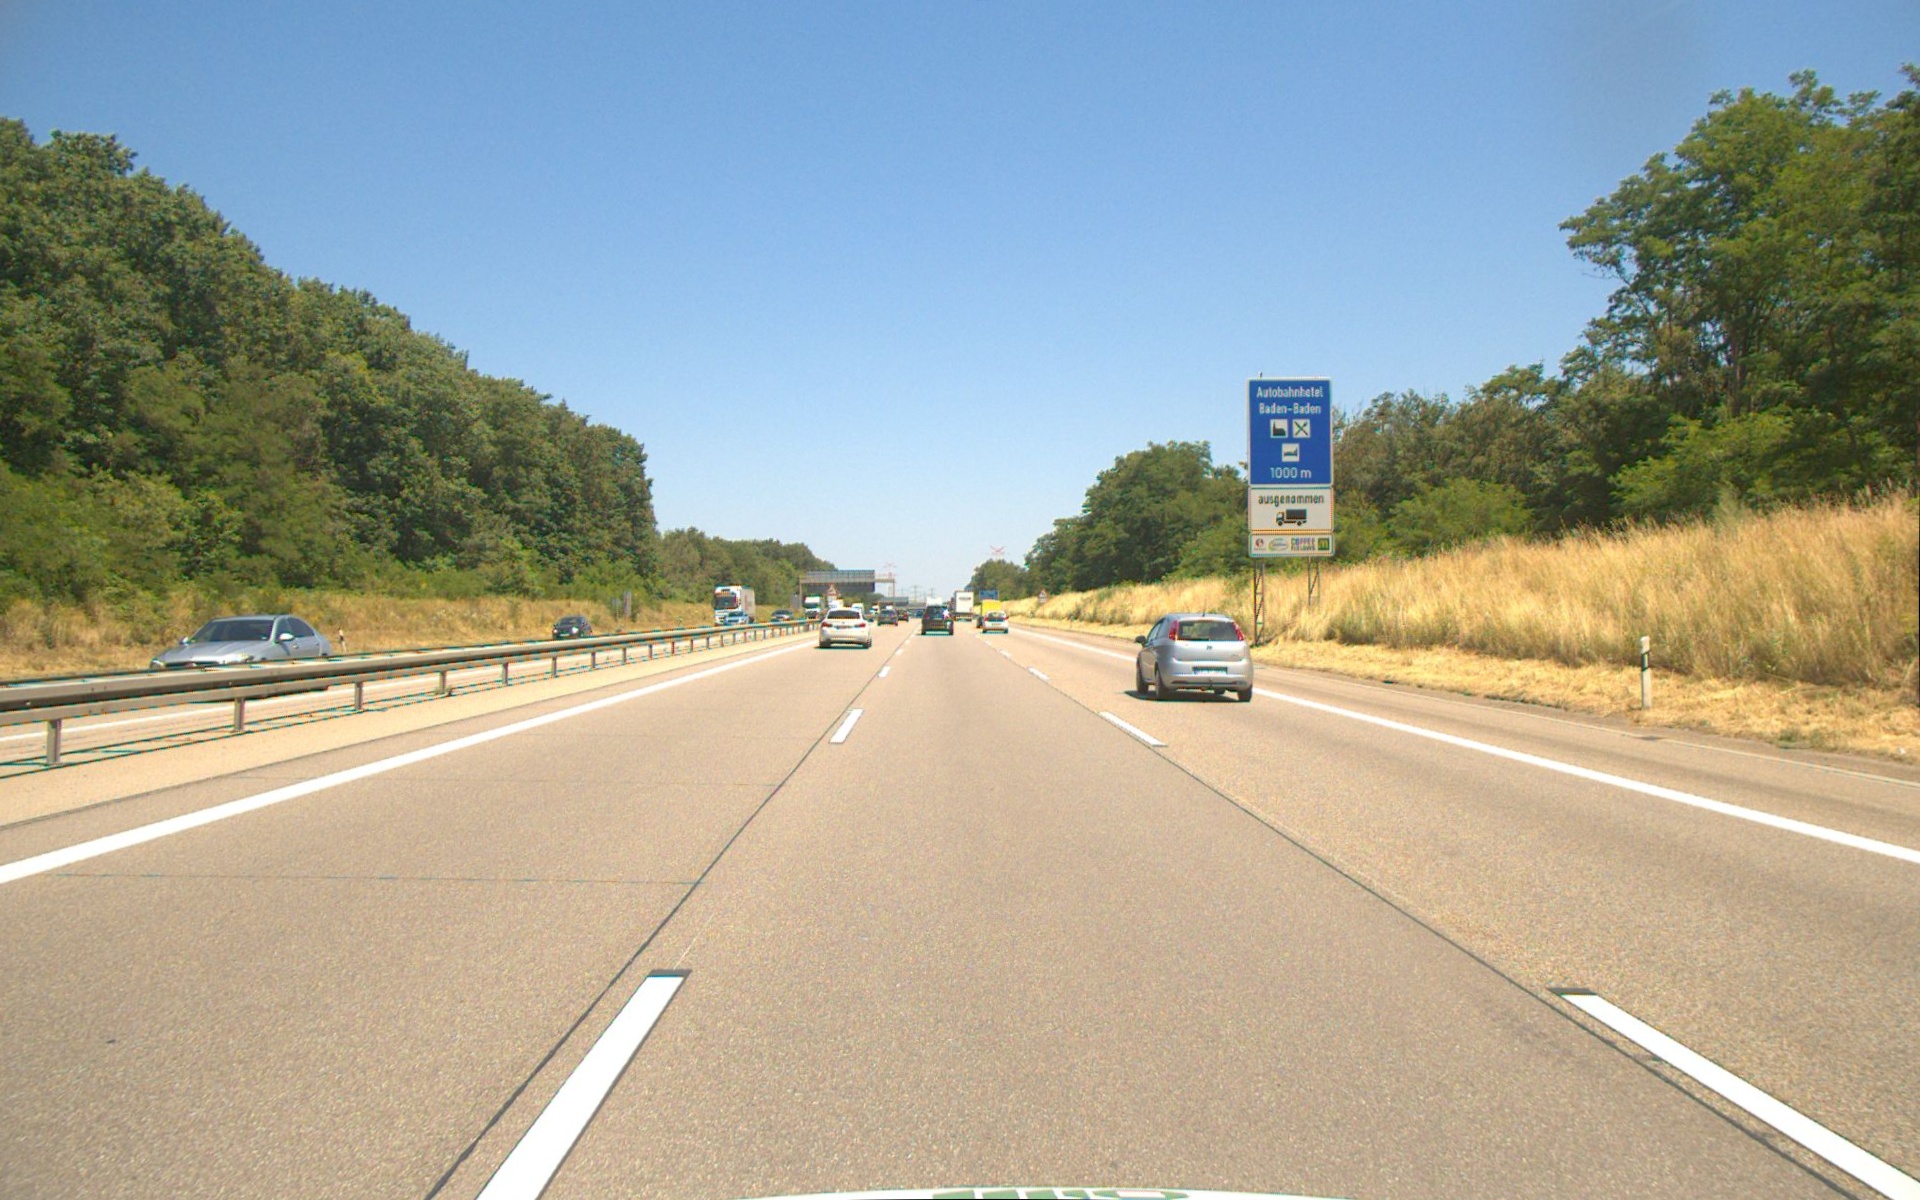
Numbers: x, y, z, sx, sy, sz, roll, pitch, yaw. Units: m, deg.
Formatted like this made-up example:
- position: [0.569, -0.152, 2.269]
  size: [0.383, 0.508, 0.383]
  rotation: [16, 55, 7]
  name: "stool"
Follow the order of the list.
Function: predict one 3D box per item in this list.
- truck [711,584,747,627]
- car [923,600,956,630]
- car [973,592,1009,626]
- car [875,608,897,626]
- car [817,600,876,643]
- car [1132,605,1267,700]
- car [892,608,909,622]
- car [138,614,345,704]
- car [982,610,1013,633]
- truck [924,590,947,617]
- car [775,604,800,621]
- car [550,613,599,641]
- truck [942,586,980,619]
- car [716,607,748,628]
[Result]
- position: [-23.199, 0.538, 166.393]
  size: [2.846, 4.138, 5.651]
  rotation: [-2, 0, -2]
  name: "truck"
- position: [-1.242, 0.888, 97.822]
  size: [1.795, 1.701, 3.998]
  rotation: [1, 0, -3]
  name: "car"
- position: [2.536, 0.759, 137.242]
  size: [2.613, 2.680, 6.109]
  rotation: [1, -1, -3]
  name: "car"
- position: [-6.513, 1.475, 145.956]
  size: [1.795, 1.456, 4.998]
  rotation: [1, 0, -1]
  name: "car"
- position: [-4.213, 0.782, 62.197]
  size: [1.924, 1.530, 5.403]
  rotation: [1, 0, -1]
  name: "car"
- position: [4.188, 0.887, 29.432]
  size: [1.685, 1.517, 3.735]
  rotation: [1, 0, -3]
  name: "car"
- position: [-7.082, 1.803, 196.564]
  size: [1.837, 1.608, 3.928]
  rotation: [1, 1, 0]
  name: "car"
- position: [-12.703, 0.993, 29.567]
  size: [1.800, 1.397, 4.351]
  rotation: [-2, 0, -1]
  name: "car"
- position: [2.463, 1.413, 109.183]
  size: [1.785, 1.518, 3.734]
  rotation: [1, -1, -3]
  name: "car"
- position: [-2.820, 0.417, 187.663]
  size: [2.380, 2.935, 6.201]
  rotation: [1, -1, -3]
  name: "truck"
- position: [-17.307, 1.218, 165.971]
  size: [1.953, 1.595, 5.188]
  rotation: [-2, 0, -1]
  name: "car"
- position: [-21.687, 1.503, 93.118]
  size: [1.777, 1.420, 4.110]
  rotation: [-2, 0, -1]
  name: "car"
- position: [0.077, 0.365, 233.113]
  size: [3.917, 4.390, 9.864]
  rotation: [2, 0, -8]
  name: "truck"
- position: [-18.538, 1.404, 134.563]
  size: [1.953, 1.595, 4.527]
  rotation: [-2, 0, -1]
  name: "car"
